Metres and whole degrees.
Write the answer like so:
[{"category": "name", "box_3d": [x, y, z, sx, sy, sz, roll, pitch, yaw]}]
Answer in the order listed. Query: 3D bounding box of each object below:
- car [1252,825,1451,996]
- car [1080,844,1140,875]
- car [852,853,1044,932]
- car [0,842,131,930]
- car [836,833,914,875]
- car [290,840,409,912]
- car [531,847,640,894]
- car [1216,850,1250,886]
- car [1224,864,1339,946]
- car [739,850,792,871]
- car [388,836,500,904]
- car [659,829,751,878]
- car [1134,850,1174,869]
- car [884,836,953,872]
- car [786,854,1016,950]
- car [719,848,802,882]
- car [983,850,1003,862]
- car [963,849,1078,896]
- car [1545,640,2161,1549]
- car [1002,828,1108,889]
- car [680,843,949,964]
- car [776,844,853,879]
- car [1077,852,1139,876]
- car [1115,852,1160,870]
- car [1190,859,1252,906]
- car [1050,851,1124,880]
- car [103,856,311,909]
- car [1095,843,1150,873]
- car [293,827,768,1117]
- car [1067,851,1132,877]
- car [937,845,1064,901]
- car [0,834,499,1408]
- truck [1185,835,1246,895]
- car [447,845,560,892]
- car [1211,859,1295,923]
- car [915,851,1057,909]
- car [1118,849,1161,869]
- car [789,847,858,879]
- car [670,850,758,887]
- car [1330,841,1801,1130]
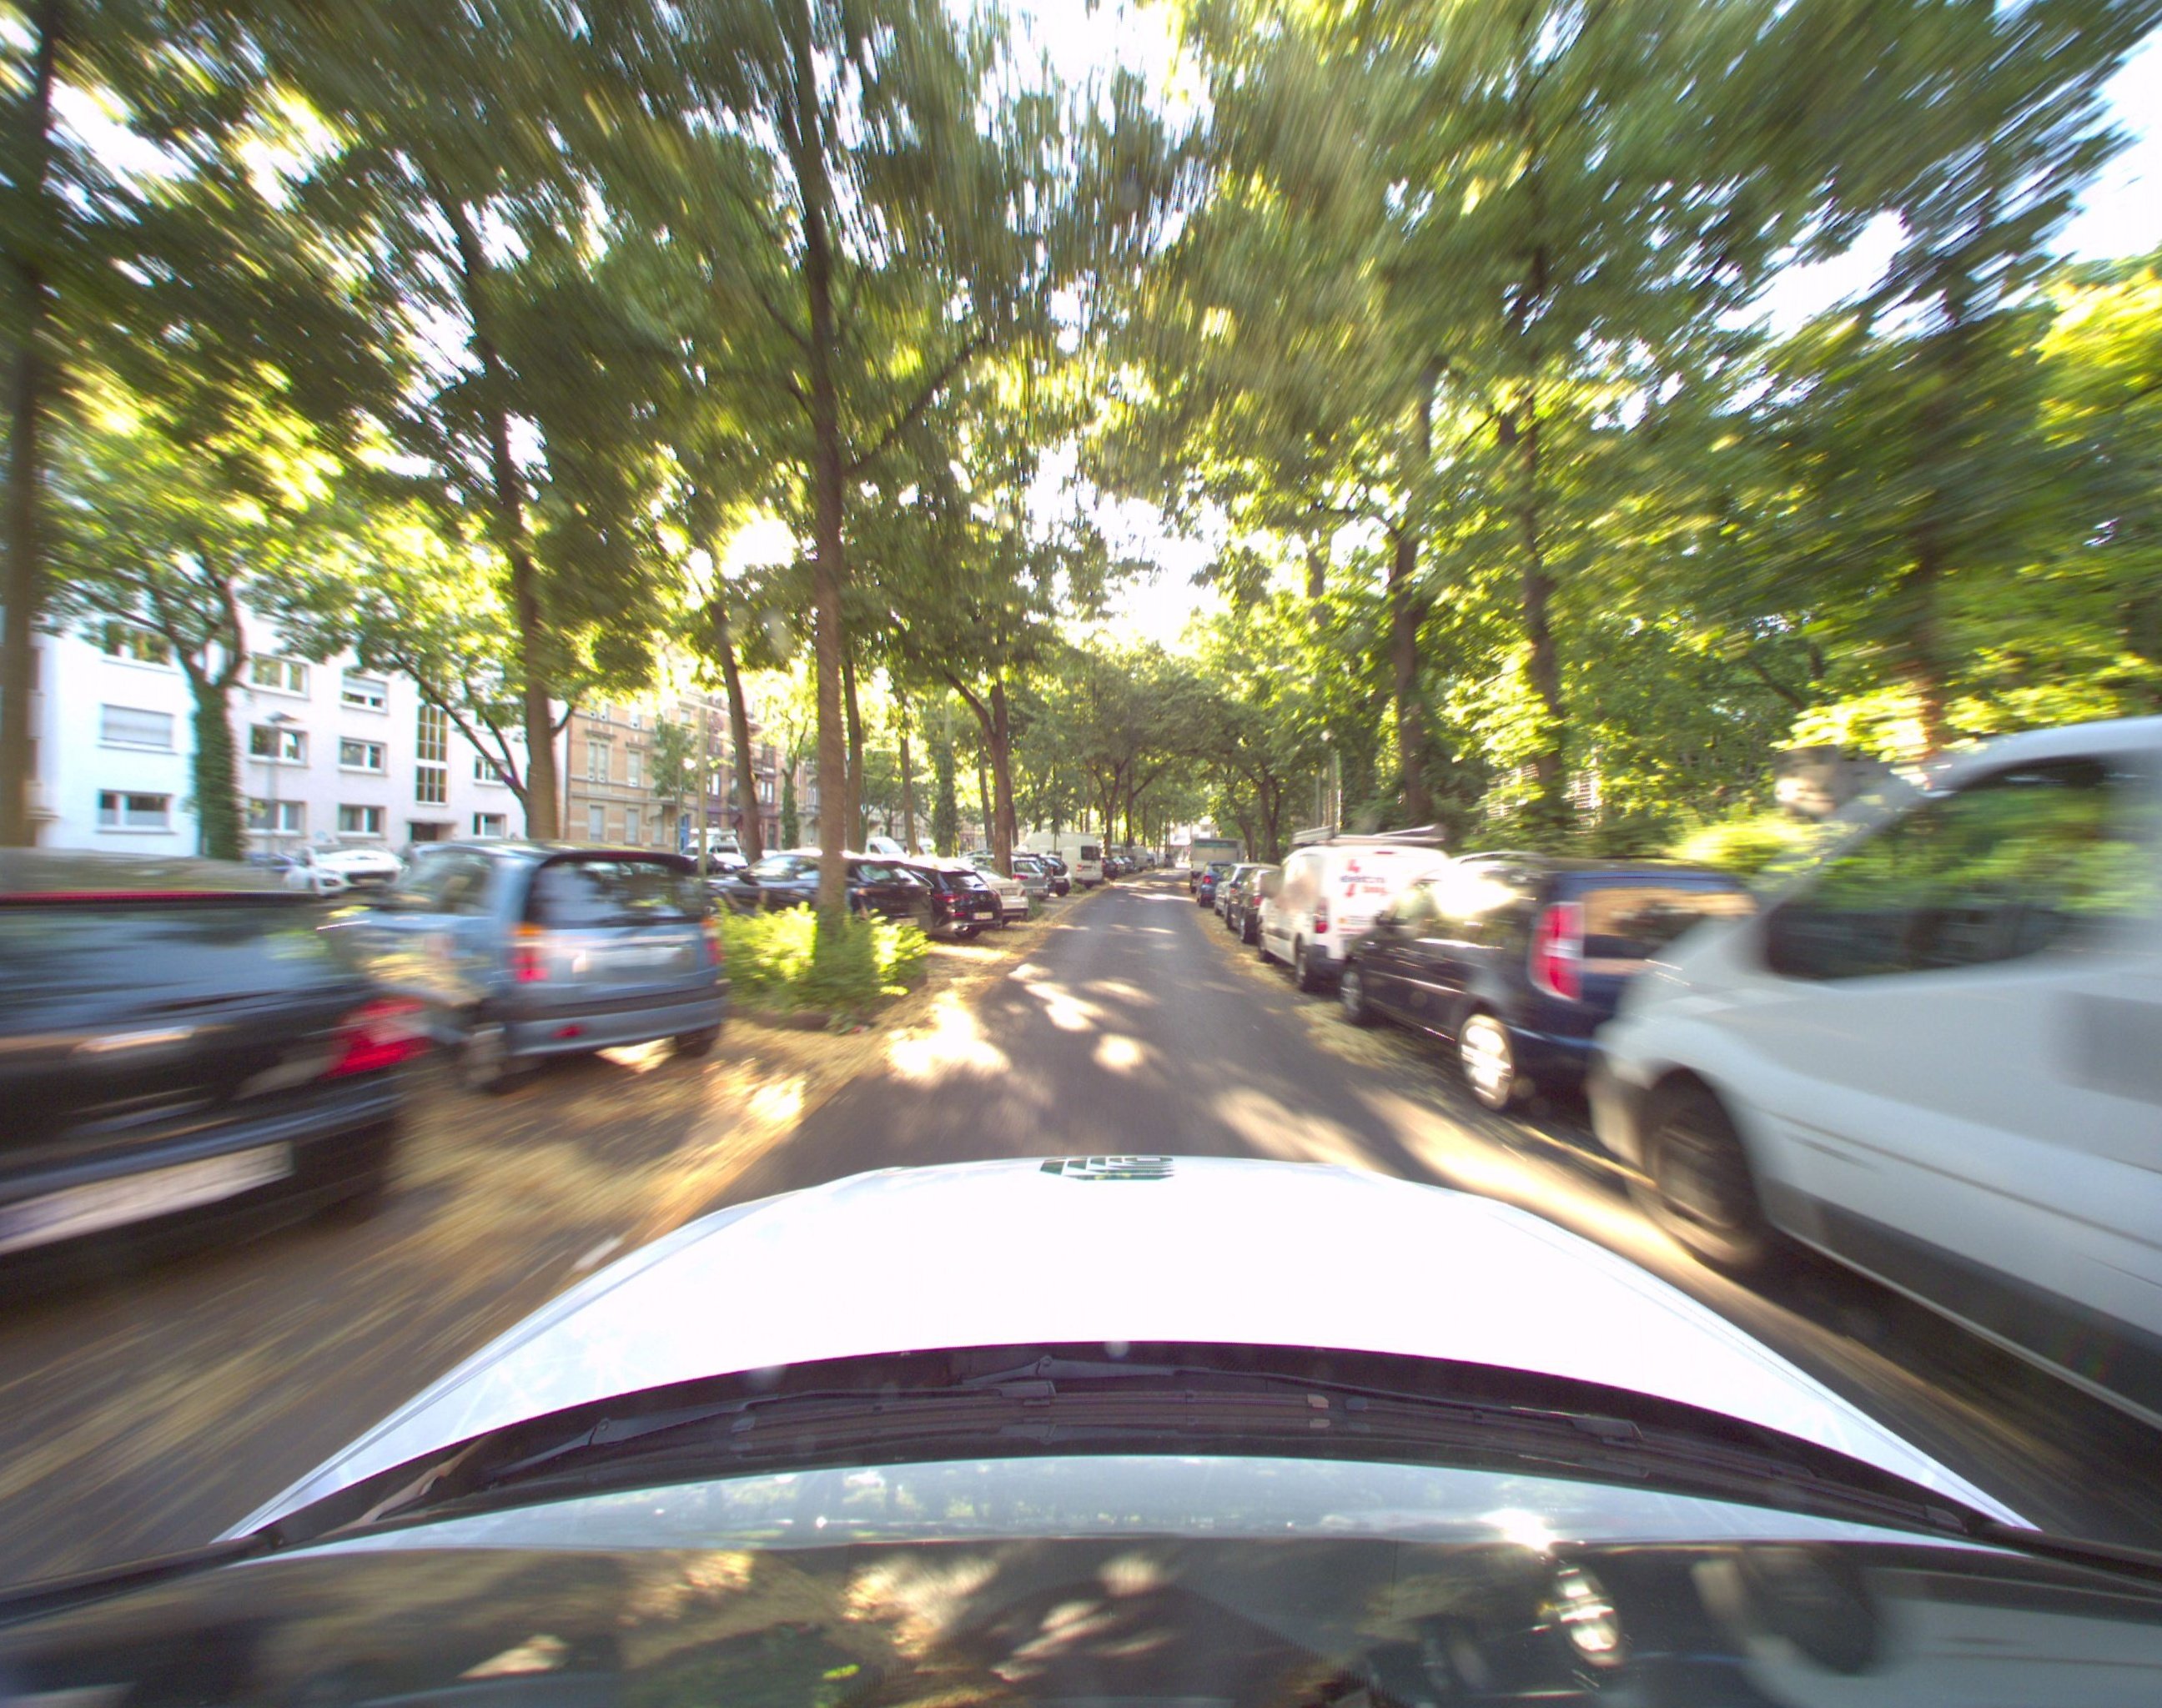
[{"category": "car", "box_3d": [3.439, 0.624, 11.077, 1.565, 1.903, 3.904, 0, 0, 2]}, {"category": "car", "box_3d": [2.108, 0.399, 60.257, 4.040, 2.040, 1.830, 3, -1, 37]}, {"category": "car", "box_3d": [-2.943, 0.806, 17.996, 3.782, 1.391, 1.748, 3, 0, 26]}, {"category": "car", "box_3d": [-19.624, 0.652, 15.278, 4.186, 1.458, 1.618, -4, -1, 31]}, {"category": "car", "box_3d": [-14.410, -0.001, 56.737, 5.200, 2.572, 2.288, -4, -1, 35]}, {"category": "car", "box_3d": [-19.154, 0.603, 21.270, 4.187, 1.651, 1.869, -4, -1, 43]}, {"category": "car", "box_3d": [-18.590, 0.625, 30.491, 4.186, 1.473, 1.870, -4, -1, 35]}, {"category": "car", "box_3d": [7.454, 0.660, 40.251, 1.562, 1.648, 3.609, 0, 0, 9]}, {"category": "car", "box_3d": [3.833, 0.921, 16.095, 1.565, 1.386, 3.603, 0, 0, 3]}, {"category": "car", "box_3d": [-22.600, 0.448, 58.461, 1.700, 1.446, 4.010, -1, 0, 9]}, {"category": "car", "box_3d": [-18.756, 0.501, 23.905, 4.187, 1.749, 1.869, -4, -1, 43]}, {"category": "car", "box_3d": [-23.362, -0.032, 50.970, 2.537, 2.887, 5.495, -1, 0, 9]}, {"category": "car", "box_3d": [8.048, 0.605, 89.990, 4.040, 1.789, 1.830, 3, 0, 37]}, {"category": "car", "box_3d": [-13.057, 0.016, 65.302, 5.200, 2.572, 2.288, -4, -1, 35]}, {"category": "car", "box_3d": [-3.329, 0.818, 15.007, 3.782, 1.391, 1.748, 3, 0, 26]}, {"category": "car", "box_3d": [-16.378, 0.592, 41.550, 4.186, 1.473, 1.870, -4, -1, 35]}, {"category": "car", "box_3d": [-13.098, 0.270, 121.470, 1.700, 1.820, 4.012, -1, 0, 11]}, {"category": "car", "box_3d": [-2.243, 0.669, 30.029, 3.782, 1.481, 1.748, 3, 0, 26]}, {"category": "car", "box_3d": [3.353, 0.534, 1.789, 1.939, 2.003, 4.656, 0, 0, -2]}, {"category": "car", "box_3d": [-1.204, 0.180, 36.511, 4.443, 2.476, 1.830, 3, -1, 37]}, {"category": "car", "box_3d": [-4.213, 0.693, 12.848, 3.782, 1.497, 1.748, 3, 0, 26]}, {"category": "car", "box_3d": [-14.875, 0.438, 45.387, 4.186, 1.699, 1.870, -4, -1, 35]}, {"category": "car", "box_3d": [1.906, 0.689, 57.774, 4.040, 1.473, 1.830, 3, 0, 37]}, {"category": "car", "box_3d": [5.684, 0.708, 81.778, 4.040, 1.473, 1.830, 3, 0, 37]}, {"category": "car", "box_3d": [4.474, 0.886, 26.456, 1.565, 1.385, 3.603, 0, 0, 3]}, {"category": "car", "box_3d": [0.343, 0.678, 48.315, 4.040, 1.473, 1.830, 3, 0, 37]}, {"category": "car", "box_3d": [-26.462, 0.797, 24.875, 1.700, 1.446, 4.010, -1, 0, 9]}, {"category": "car", "box_3d": [3.399, 0.333, 66.425, 4.040, 2.210, 1.830, 3, -1, 37]}, {"category": "car", "box_3d": [-4.345, 0.665, 6.337, 3.573, 1.562, 1.617, 3, 1, 30]}, {"category": "car", "box_3d": [1.239, 0.676, 55.162, 4.040, 1.473, 1.830, 3, 0, 37]}, {"category": "car", "box_3d": [-2.710, 0.612, 27.265, 3.782, 1.587, 1.748, 3, 0, 26]}, {"category": "car", "box_3d": [-4.307, 0.708, 3.430, 3.573, 1.447, 1.617, 3, 1, 29]}, {"category": "truck", "box_3d": [5.566, 0.420, 34.258, 2.354, 2.352, 4.392, 0, 0, 7]}, {"category": "car", "box_3d": [-25.215, 0.574, 35.729, 1.700, 1.932, 4.010, -1, 0, 9]}, {"category": "car", "box_3d": [4.315, 0.870, 20.847, 1.565, 1.467, 3.603, 0, 0, 3]}, {"category": "car", "box_3d": [-2.829, 0.756, 24.279, 3.782, 1.421, 1.748, 3, 0, 26]}, {"category": "car", "box_3d": [6.060, 0.547, 84.647, 4.040, 1.789, 1.830, 3, 0, 37]}, {"category": "car", "box_3d": [-16.174, 0.574, 51.128, 4.186, 1.699, 1.870, -4, -1, 35]}, {"category": "car", "box_3d": [-17.503, 0.696, 38.807, 4.186, 1.473, 1.870, -4, -1, 35]}, {"category": "car", "box_3d": [3.328, 0.747, 6.490, 1.566, 1.637, 3.711, 0, 0, 0]}]
